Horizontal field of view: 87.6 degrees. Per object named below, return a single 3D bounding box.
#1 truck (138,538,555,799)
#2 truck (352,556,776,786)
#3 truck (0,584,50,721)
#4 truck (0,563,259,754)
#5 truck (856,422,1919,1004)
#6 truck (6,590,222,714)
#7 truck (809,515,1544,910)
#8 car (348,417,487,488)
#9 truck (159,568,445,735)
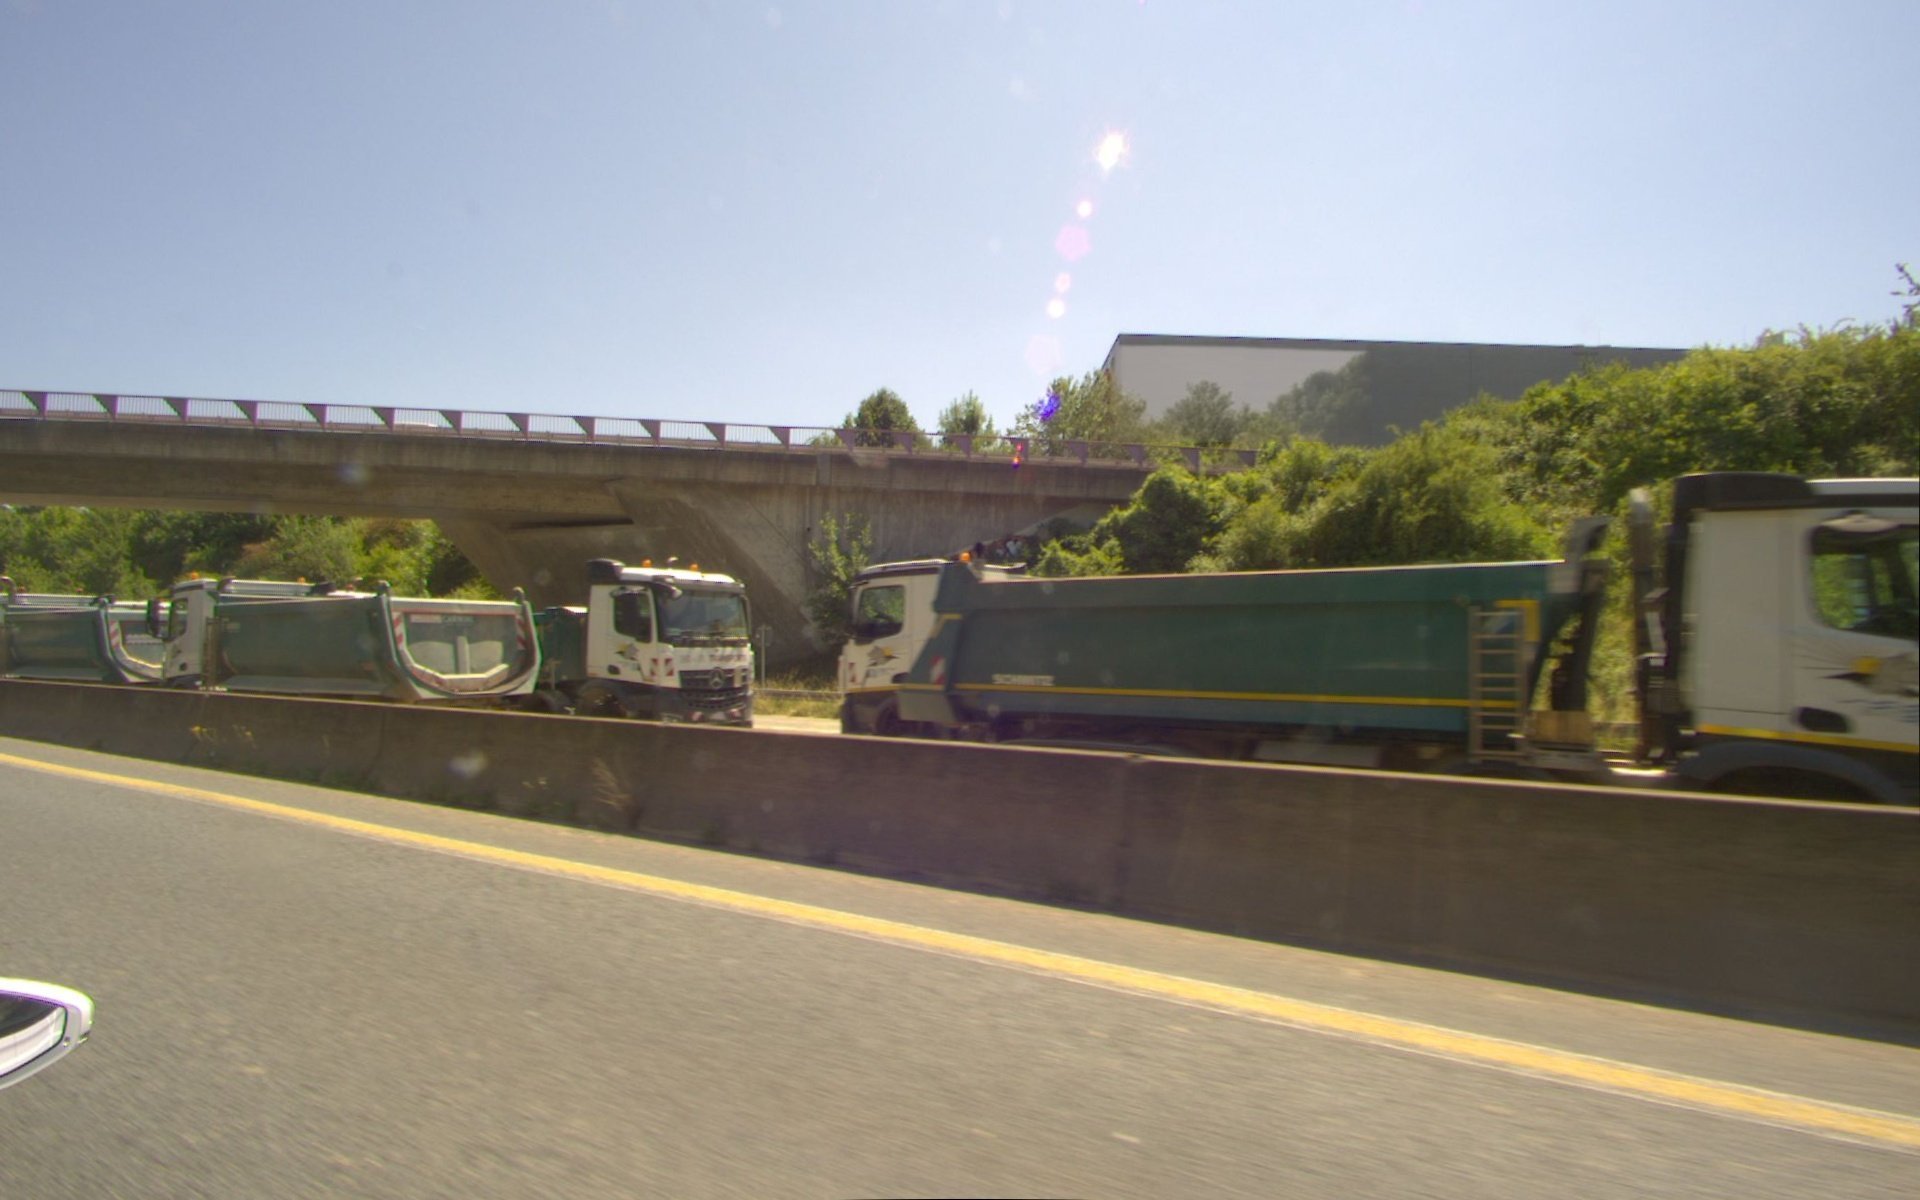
[{"bbox_3d":[-11.417,1.111,18.196,9.192,3.808,2.683,-1,-2,32],"label":"truck"},{"bbox_3d":[-7.908,1.229,19.313,9.191,3.602,2.683,-1,-2,32],"label":"truck"},{"bbox_3d":[-31.341,1.546,30.744,9.192,3.892,2.683,-1,-2,32],"label":"truck"},{"bbox_3d":[-20.593,1.309,24.151,9.192,3.905,2.683,-1,-2,32],"label":"truck"},{"bbox_3d":[3.484,0.797,9.337,9.191,3.602,2.683,-1,-2,32],"label":"truck"},{"bbox_3d":[-27.624,1.622,32.540,9.191,3.602,2.683,-1,-2,32],"label":"truck"},{"bbox_3d":[2.390,1.201,13.289,9.192,3.808,2.683,-1,-2,32],"label":"truck"},{"bbox_3d":[-23.165,-6.265,42.914,4.687,2.571,2.261,0,-2,-3],"label":"car"},{"bbox_3d":[-17.459,1.280,26.298,9.191,3.774,2.683,-1,-2,32],"label":"truck"}]
